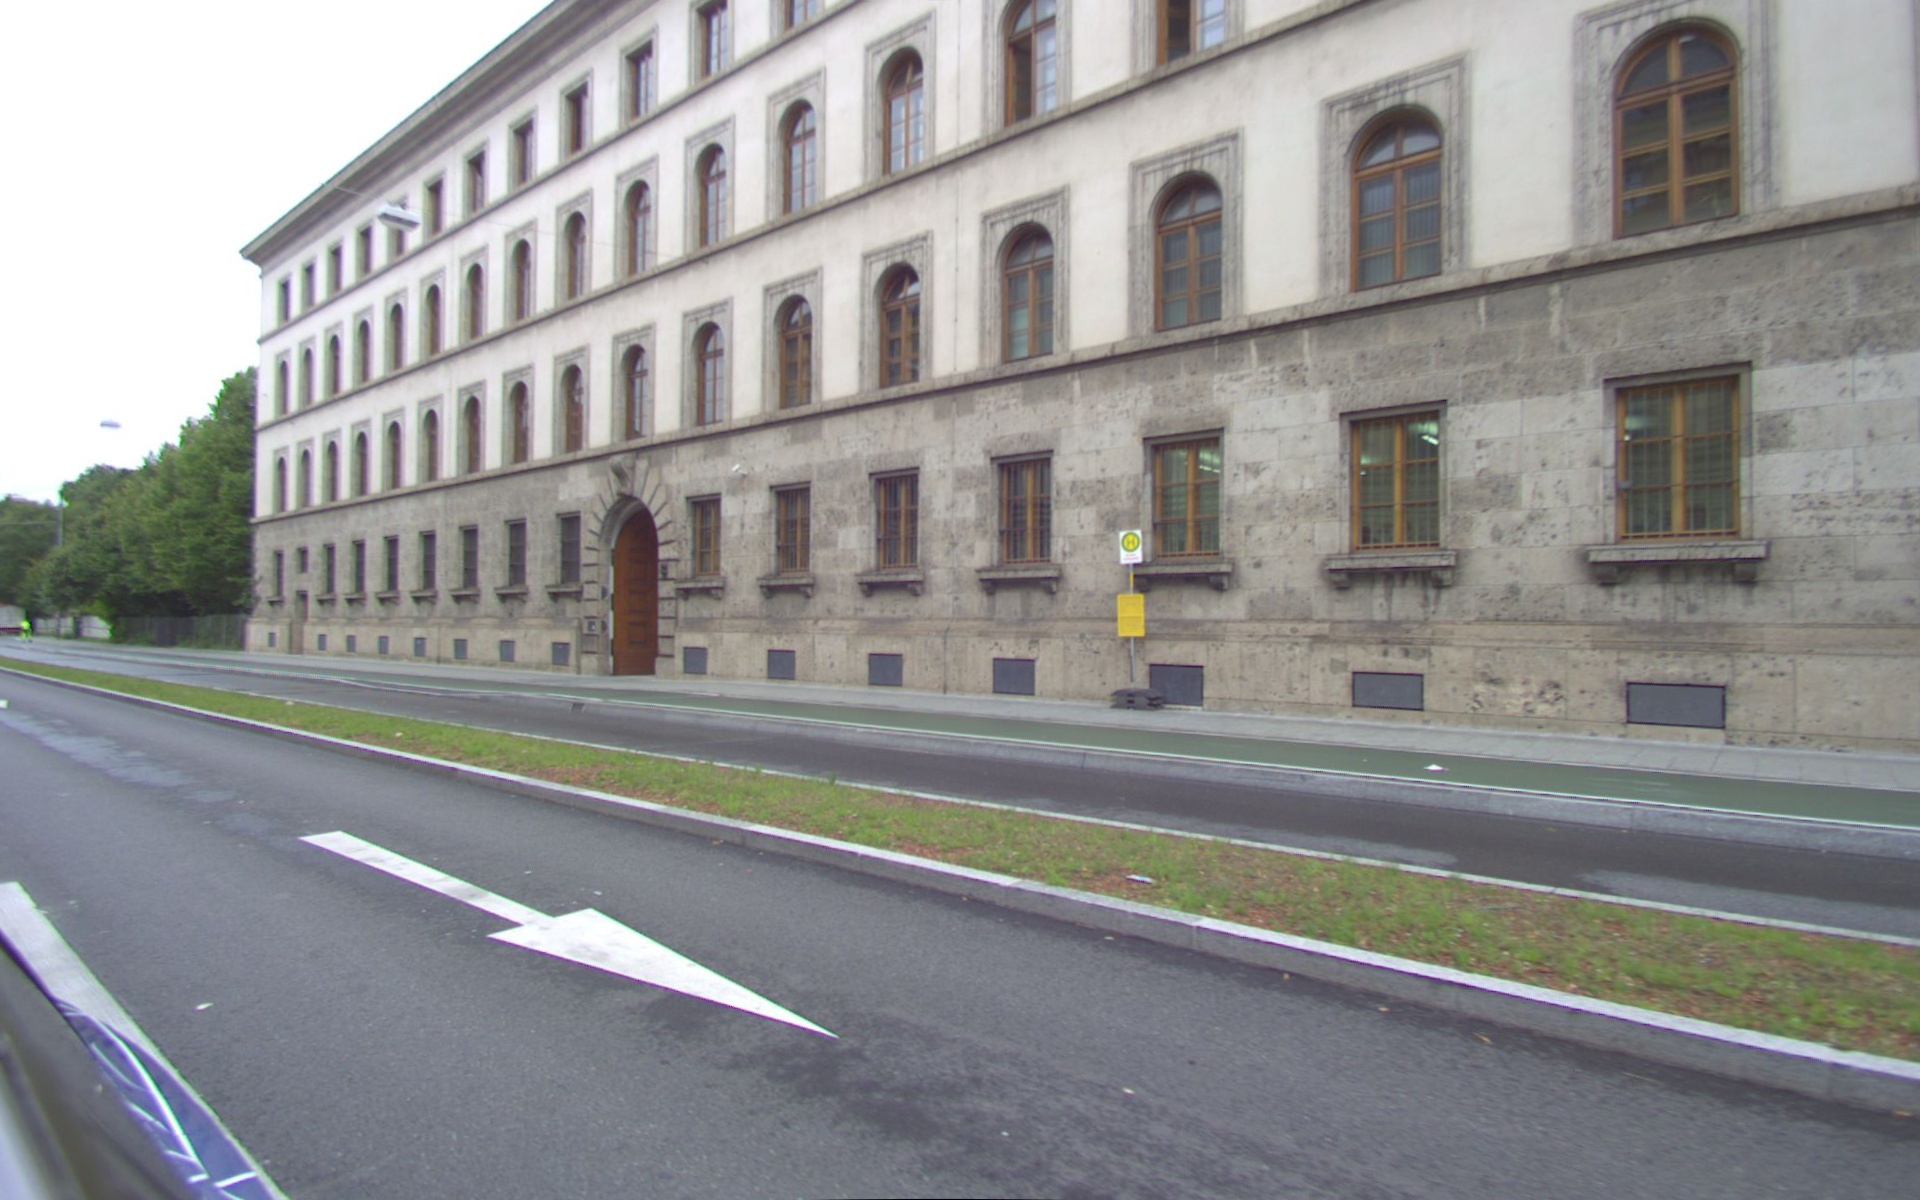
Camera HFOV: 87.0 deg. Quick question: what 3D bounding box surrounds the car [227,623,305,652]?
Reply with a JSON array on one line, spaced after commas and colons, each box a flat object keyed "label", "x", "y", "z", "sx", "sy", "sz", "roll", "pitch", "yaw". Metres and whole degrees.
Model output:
[{"label": "car", "x": -45.986, "y": 2.462, "z": 67.122, "sx": 1.876, "sy": 1.722, "sz": 3.982, "roll": 1, "pitch": 1, "yaw": 44}]

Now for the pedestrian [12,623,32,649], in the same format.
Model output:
[{"label": "pedestrian", "x": -74.247, "y": 2.861, "z": 80.111, "sx": 0.748, "sy": 2.029, "sz": 0.866, "roll": -1, "pitch": -1, "yaw": 5}]
